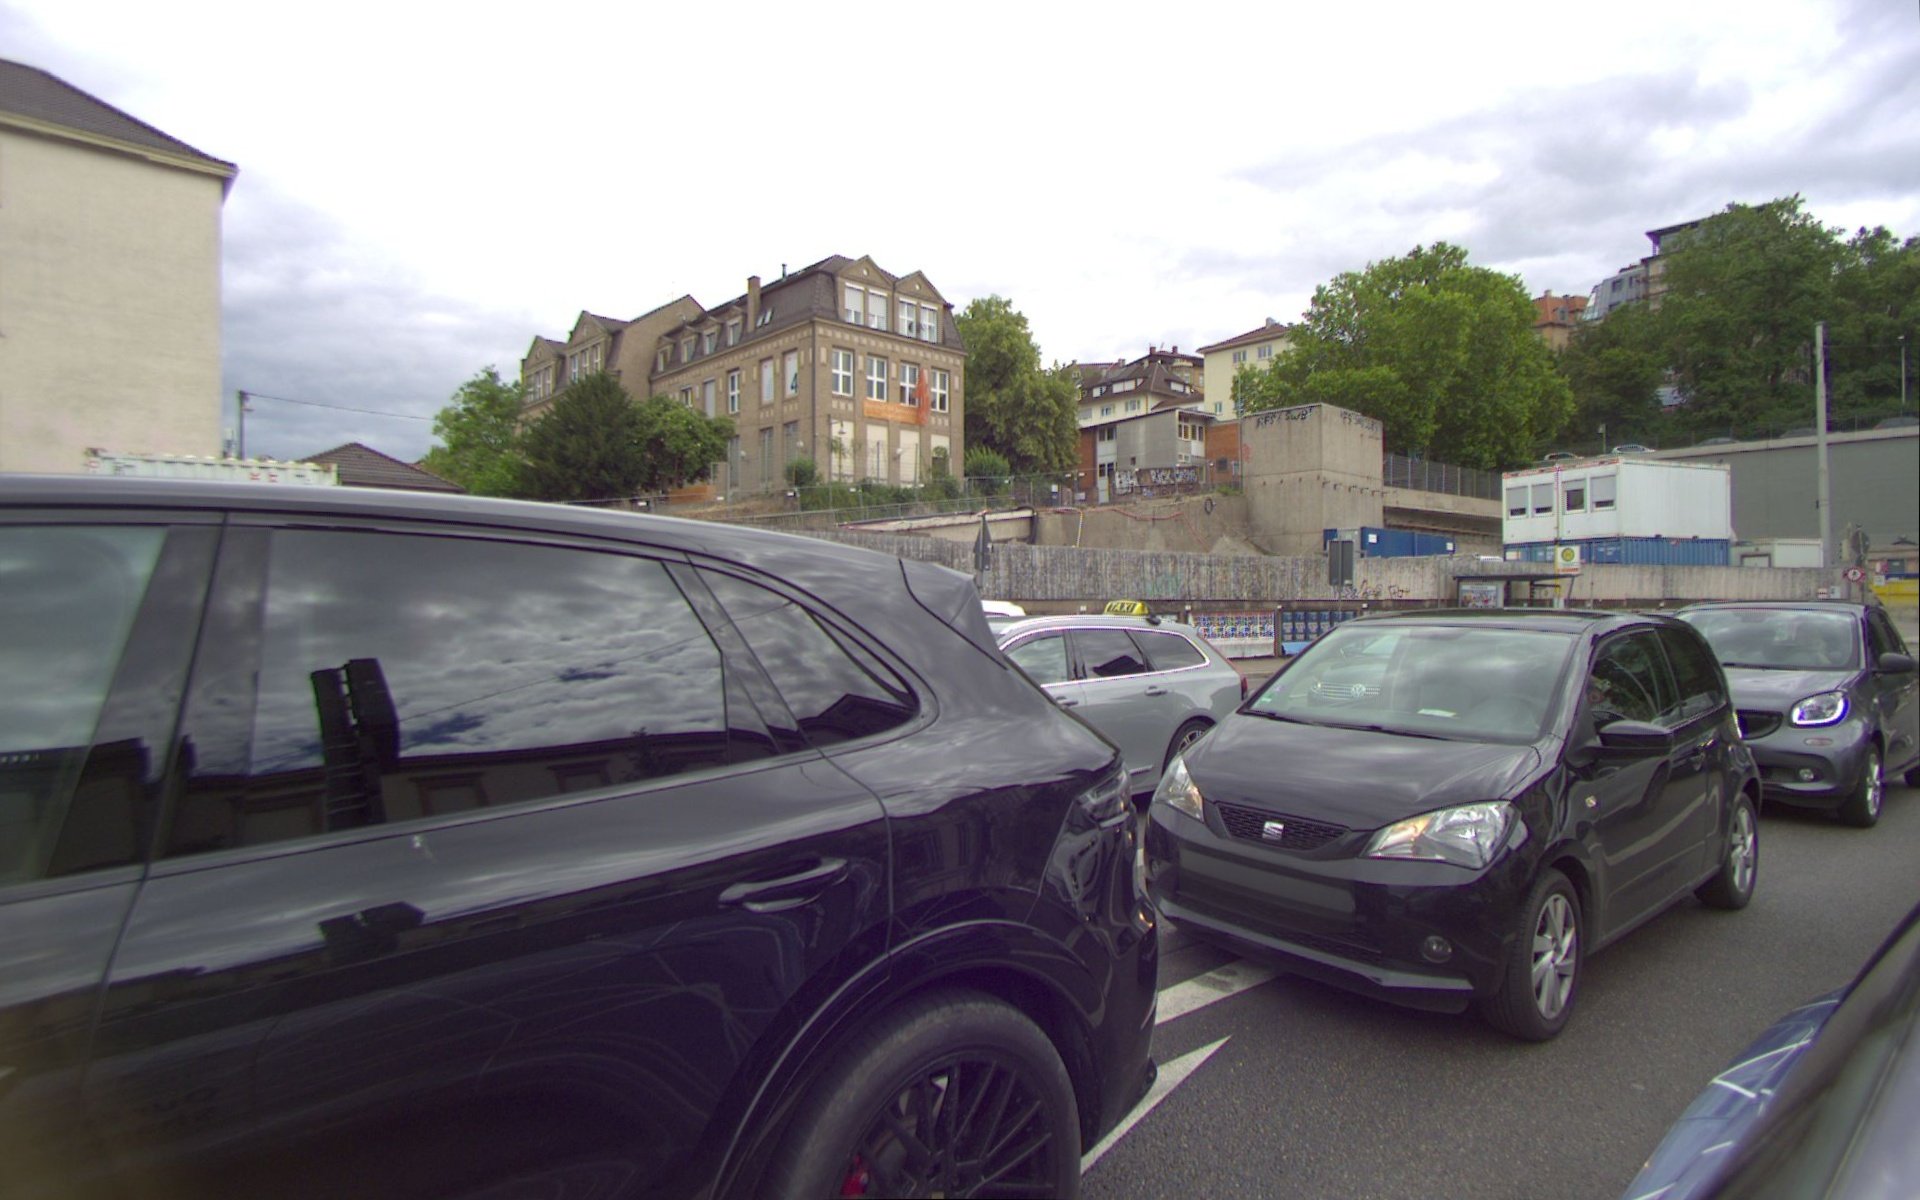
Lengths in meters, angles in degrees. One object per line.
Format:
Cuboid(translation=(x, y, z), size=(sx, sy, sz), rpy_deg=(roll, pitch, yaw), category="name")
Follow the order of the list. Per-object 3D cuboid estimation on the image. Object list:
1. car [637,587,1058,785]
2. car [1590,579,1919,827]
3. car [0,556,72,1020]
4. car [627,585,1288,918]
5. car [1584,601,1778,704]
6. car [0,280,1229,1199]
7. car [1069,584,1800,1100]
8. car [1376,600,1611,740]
Cuboid(translation=(-1.017, 0.700, 10.484), size=(4.136, 1.645, 1.679), rpy_deg=(-1, 0, -41), category="car")
Cuboid(translation=(6.699, 0.654, 8.191), size=(3.511, 1.563, 1.720), rpy_deg=(0, 0, -40), category="car")
Cuboid(translation=(-5.313, 0.682, 3.044), size=(3.930, 1.645, 1.679), rpy_deg=(-1, 0, -41), category="car")
Cuboid(translation=(0.260, 0.724, 7.267), size=(4.725, 1.645, 1.827), rpy_deg=(-1, 0, -41), category="car")
Cuboid(translation=(11.497, 0.739, 16.062), size=(3.740, 1.383, 1.679), rpy_deg=(-1, 0, -41), category="car")
Cuboid(translation=(-1.630, 0.551, 1.606), size=(4.406, 1.736, 1.827), rpy_deg=(-1, 0, -41), category="car")
Cuboid(translation=(2.427, 0.672, 4.797), size=(3.636, 1.476, 1.827), rpy_deg=(-1, 0, -41), category="car")
Cuboid(translation=(6.454, 0.740, 12.191), size=(2.667, 1.449, 1.664), rpy_deg=(-1, 0, -41), category="car")
